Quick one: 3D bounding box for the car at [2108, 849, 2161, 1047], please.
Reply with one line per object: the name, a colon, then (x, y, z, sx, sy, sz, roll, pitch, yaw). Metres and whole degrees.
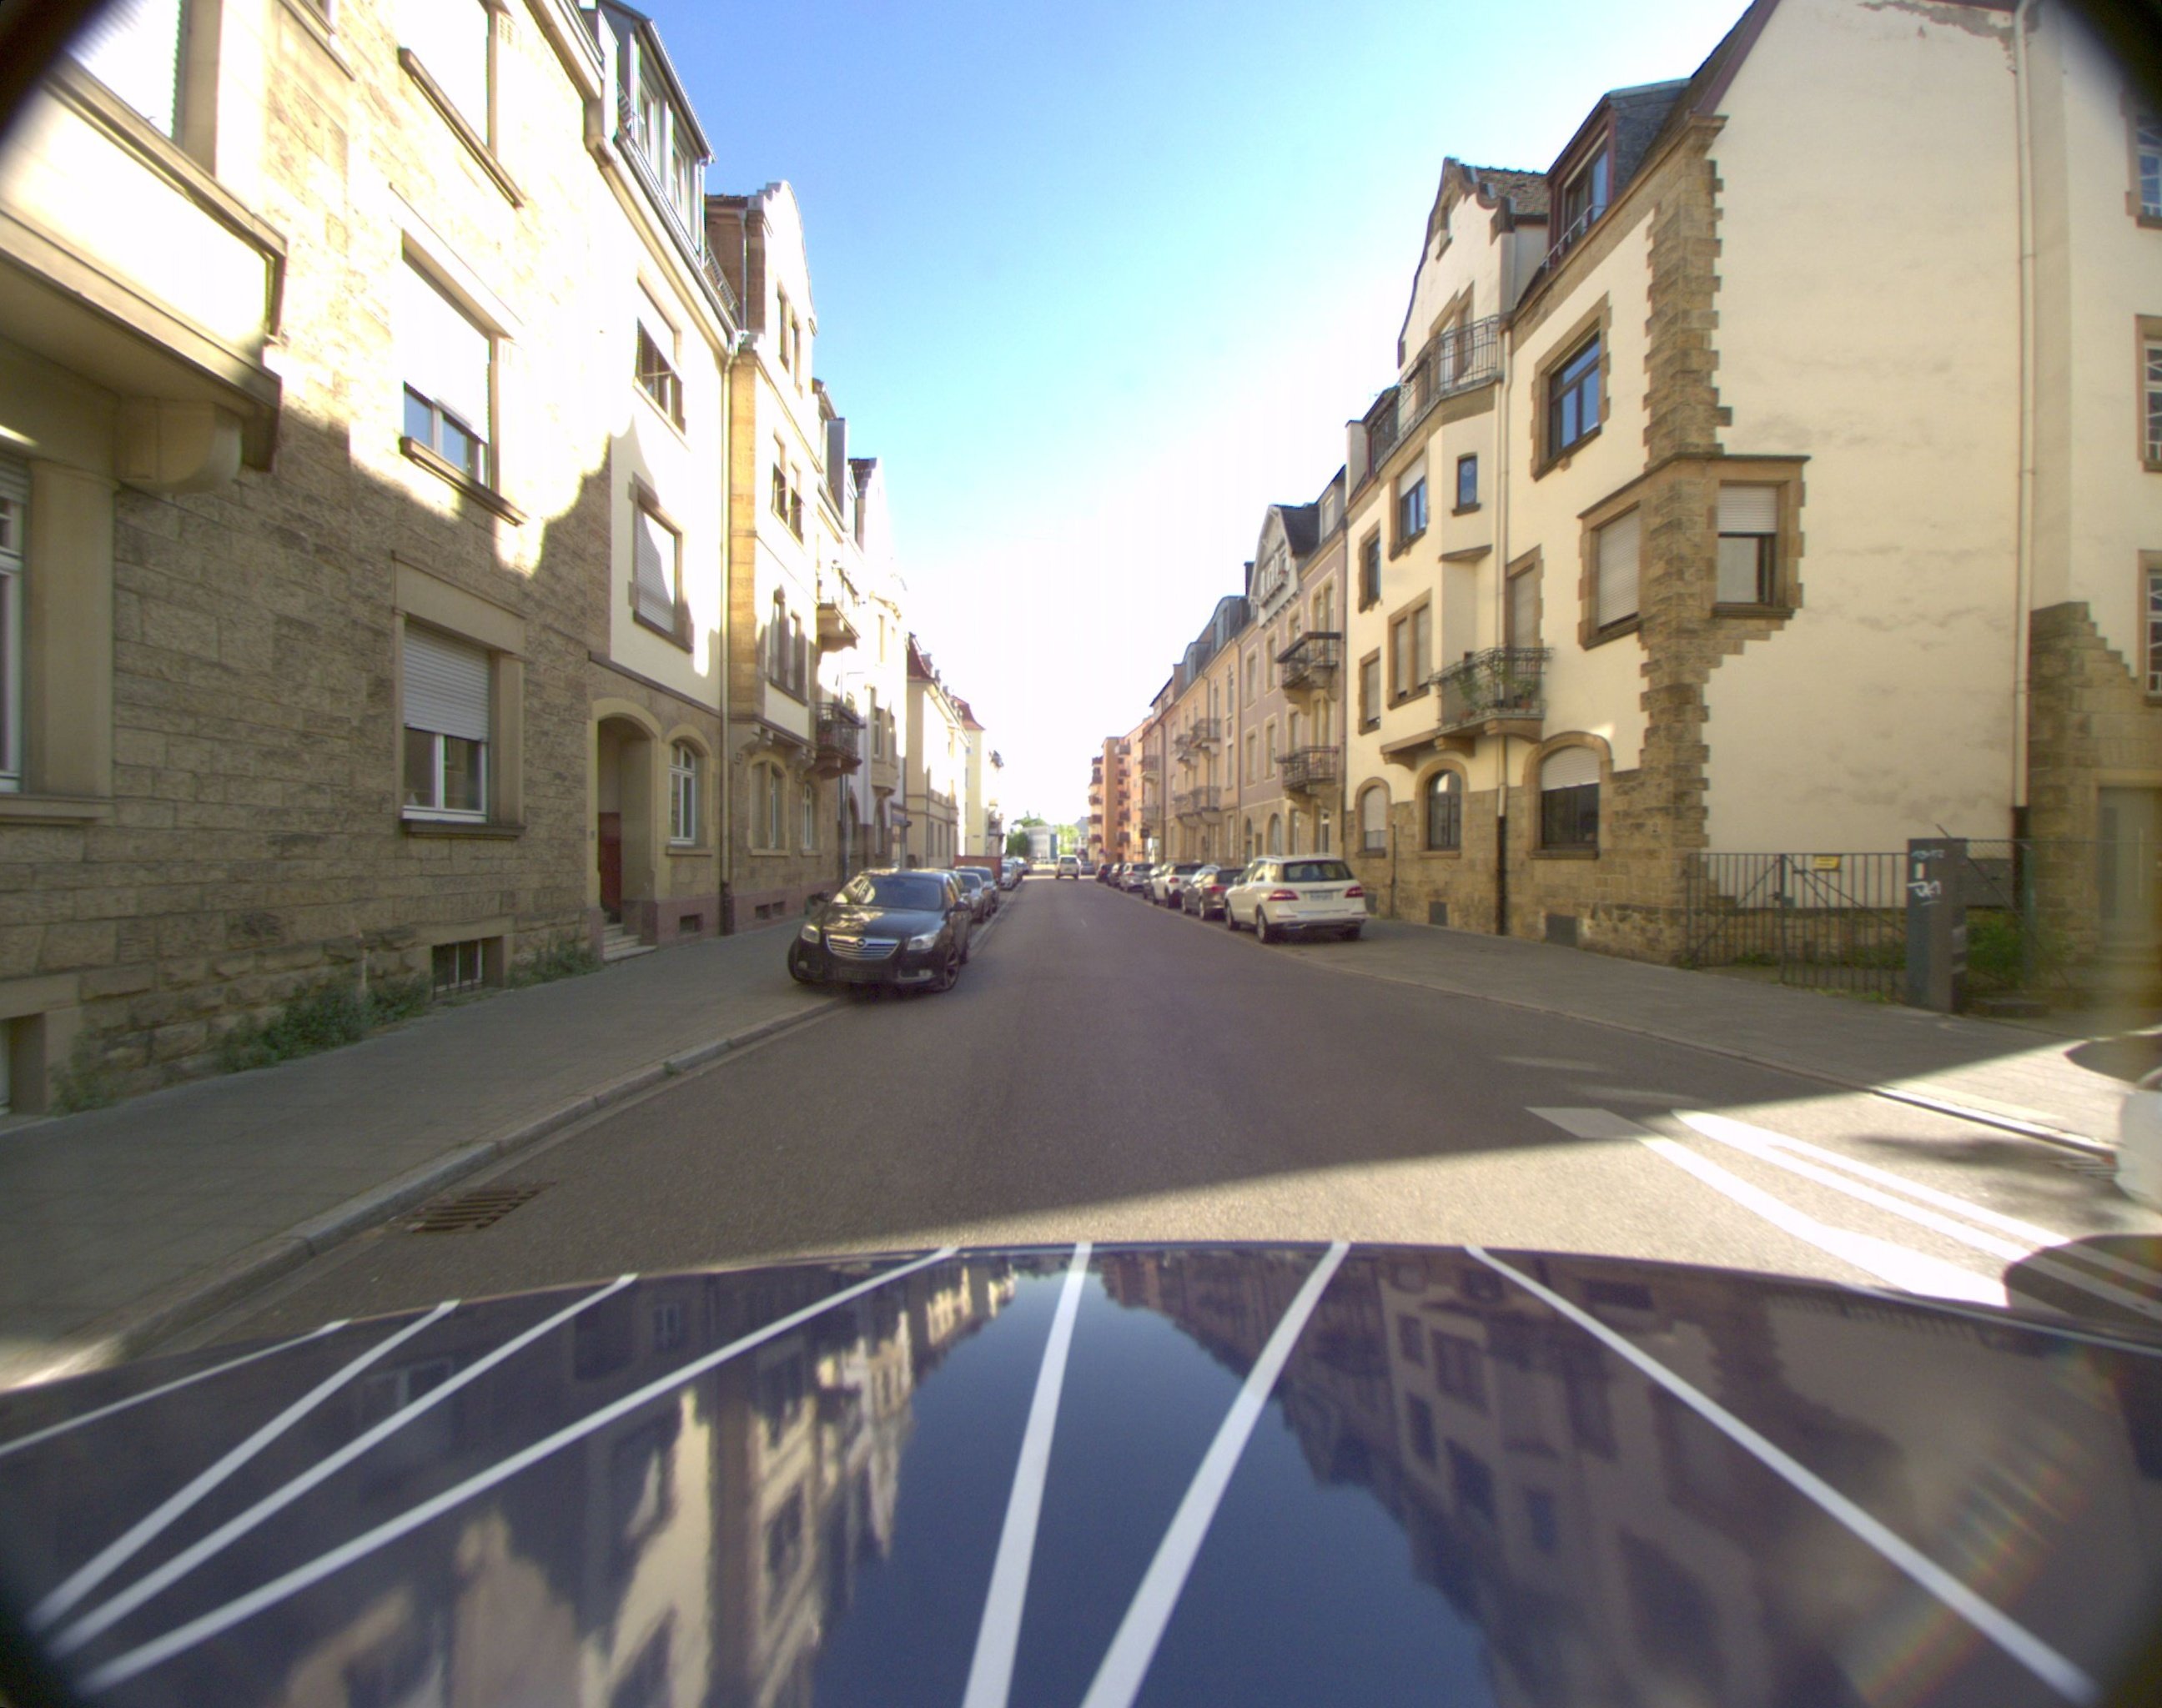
car: (11.378, 0.822, 6.045, 3.979, 1.717, 1.909, 0, 0, -2)

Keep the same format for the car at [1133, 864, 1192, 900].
car: (3.480, 1.168, 33.020, 1.677, 1.385, 3.664, -3, 0, -7)

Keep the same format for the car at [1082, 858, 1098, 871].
car: (1.010, 1.146, 86.276, 1.679, 1.413, 3.499, 0, 0, -3)

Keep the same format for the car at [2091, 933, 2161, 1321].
car: (4.933, 1.049, 1.224, 1.638, 1.455, 3.734, 0, 0, 0)

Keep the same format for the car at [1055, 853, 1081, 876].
car: (-1.122, 0.859, 64.215, 1.869, 1.925, 4.597, 0, 0, -6)

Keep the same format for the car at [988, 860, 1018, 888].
car: (-4.372, 1.104, 42.767, 1.590, 1.455, 3.710, 0, 0, -5)

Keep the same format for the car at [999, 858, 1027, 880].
car: (-5.206, 1.121, 58.634, 1.791, 1.654, 4.434, 0, 0, -1)

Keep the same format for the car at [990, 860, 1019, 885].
car: (-4.794, 1.137, 48.140, 1.657, 1.455, 4.093, 0, 0, -3)

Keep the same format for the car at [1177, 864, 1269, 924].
car: (3.991, 1.078, 22.053, 1.578, 1.478, 4.278, -2, 0, -4)

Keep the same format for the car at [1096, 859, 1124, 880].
car: (2.193, 1.157, 58.100, 1.719, 1.378, 3.864, -3, 0, -2)

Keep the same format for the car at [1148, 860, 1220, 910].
car: (3.660, 1.049, 27.647, 1.720, 1.574, 4.019, -3, 0, -5)

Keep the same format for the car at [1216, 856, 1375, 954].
car: (4.373, 0.955, 16.356, 1.897, 1.712, 4.725, -3, 0, -2)

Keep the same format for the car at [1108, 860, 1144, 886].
car: (2.790, 1.154, 47.831, 1.719, 1.512, 4.108, 1, 0, -4)

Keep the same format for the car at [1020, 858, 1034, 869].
car: (-6.718, 1.177, 94.781, 1.709, 1.417, 3.720, 0, 0, -5)

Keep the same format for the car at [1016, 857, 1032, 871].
car: (-6.189, 1.058, 82.981, 1.709, 1.417, 3.720, 1, 1, -3)

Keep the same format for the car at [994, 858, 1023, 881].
car: (-5.140, 1.050, 54.200, 1.684, 1.537, 3.914, 1, 0, -1)

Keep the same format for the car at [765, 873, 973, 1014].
car: (-2.640, 1.047, 10.544, 1.871, 1.453, 4.338, 1, 0, -3)

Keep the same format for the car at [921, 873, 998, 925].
car: (-3.315, 1.194, 21.309, 1.697, 1.247, 3.940, 1, 0, -3)

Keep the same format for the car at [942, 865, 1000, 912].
car: (-3.626, 1.110, 25.628, 1.791, 1.421, 3.805, 0, 0, -6)

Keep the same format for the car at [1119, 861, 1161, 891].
car: (3.143, 1.153, 41.166, 1.720, 1.529, 3.722, -1, 0, -5)

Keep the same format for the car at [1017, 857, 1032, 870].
car: (-6.560, 1.056, 88.433, 1.709, 1.417, 3.720, 1, 1, -3)

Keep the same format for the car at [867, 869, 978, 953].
car: (-3.159, 1.073, 15.883, 1.656, 1.434, 4.257, 1, 0, -4)
